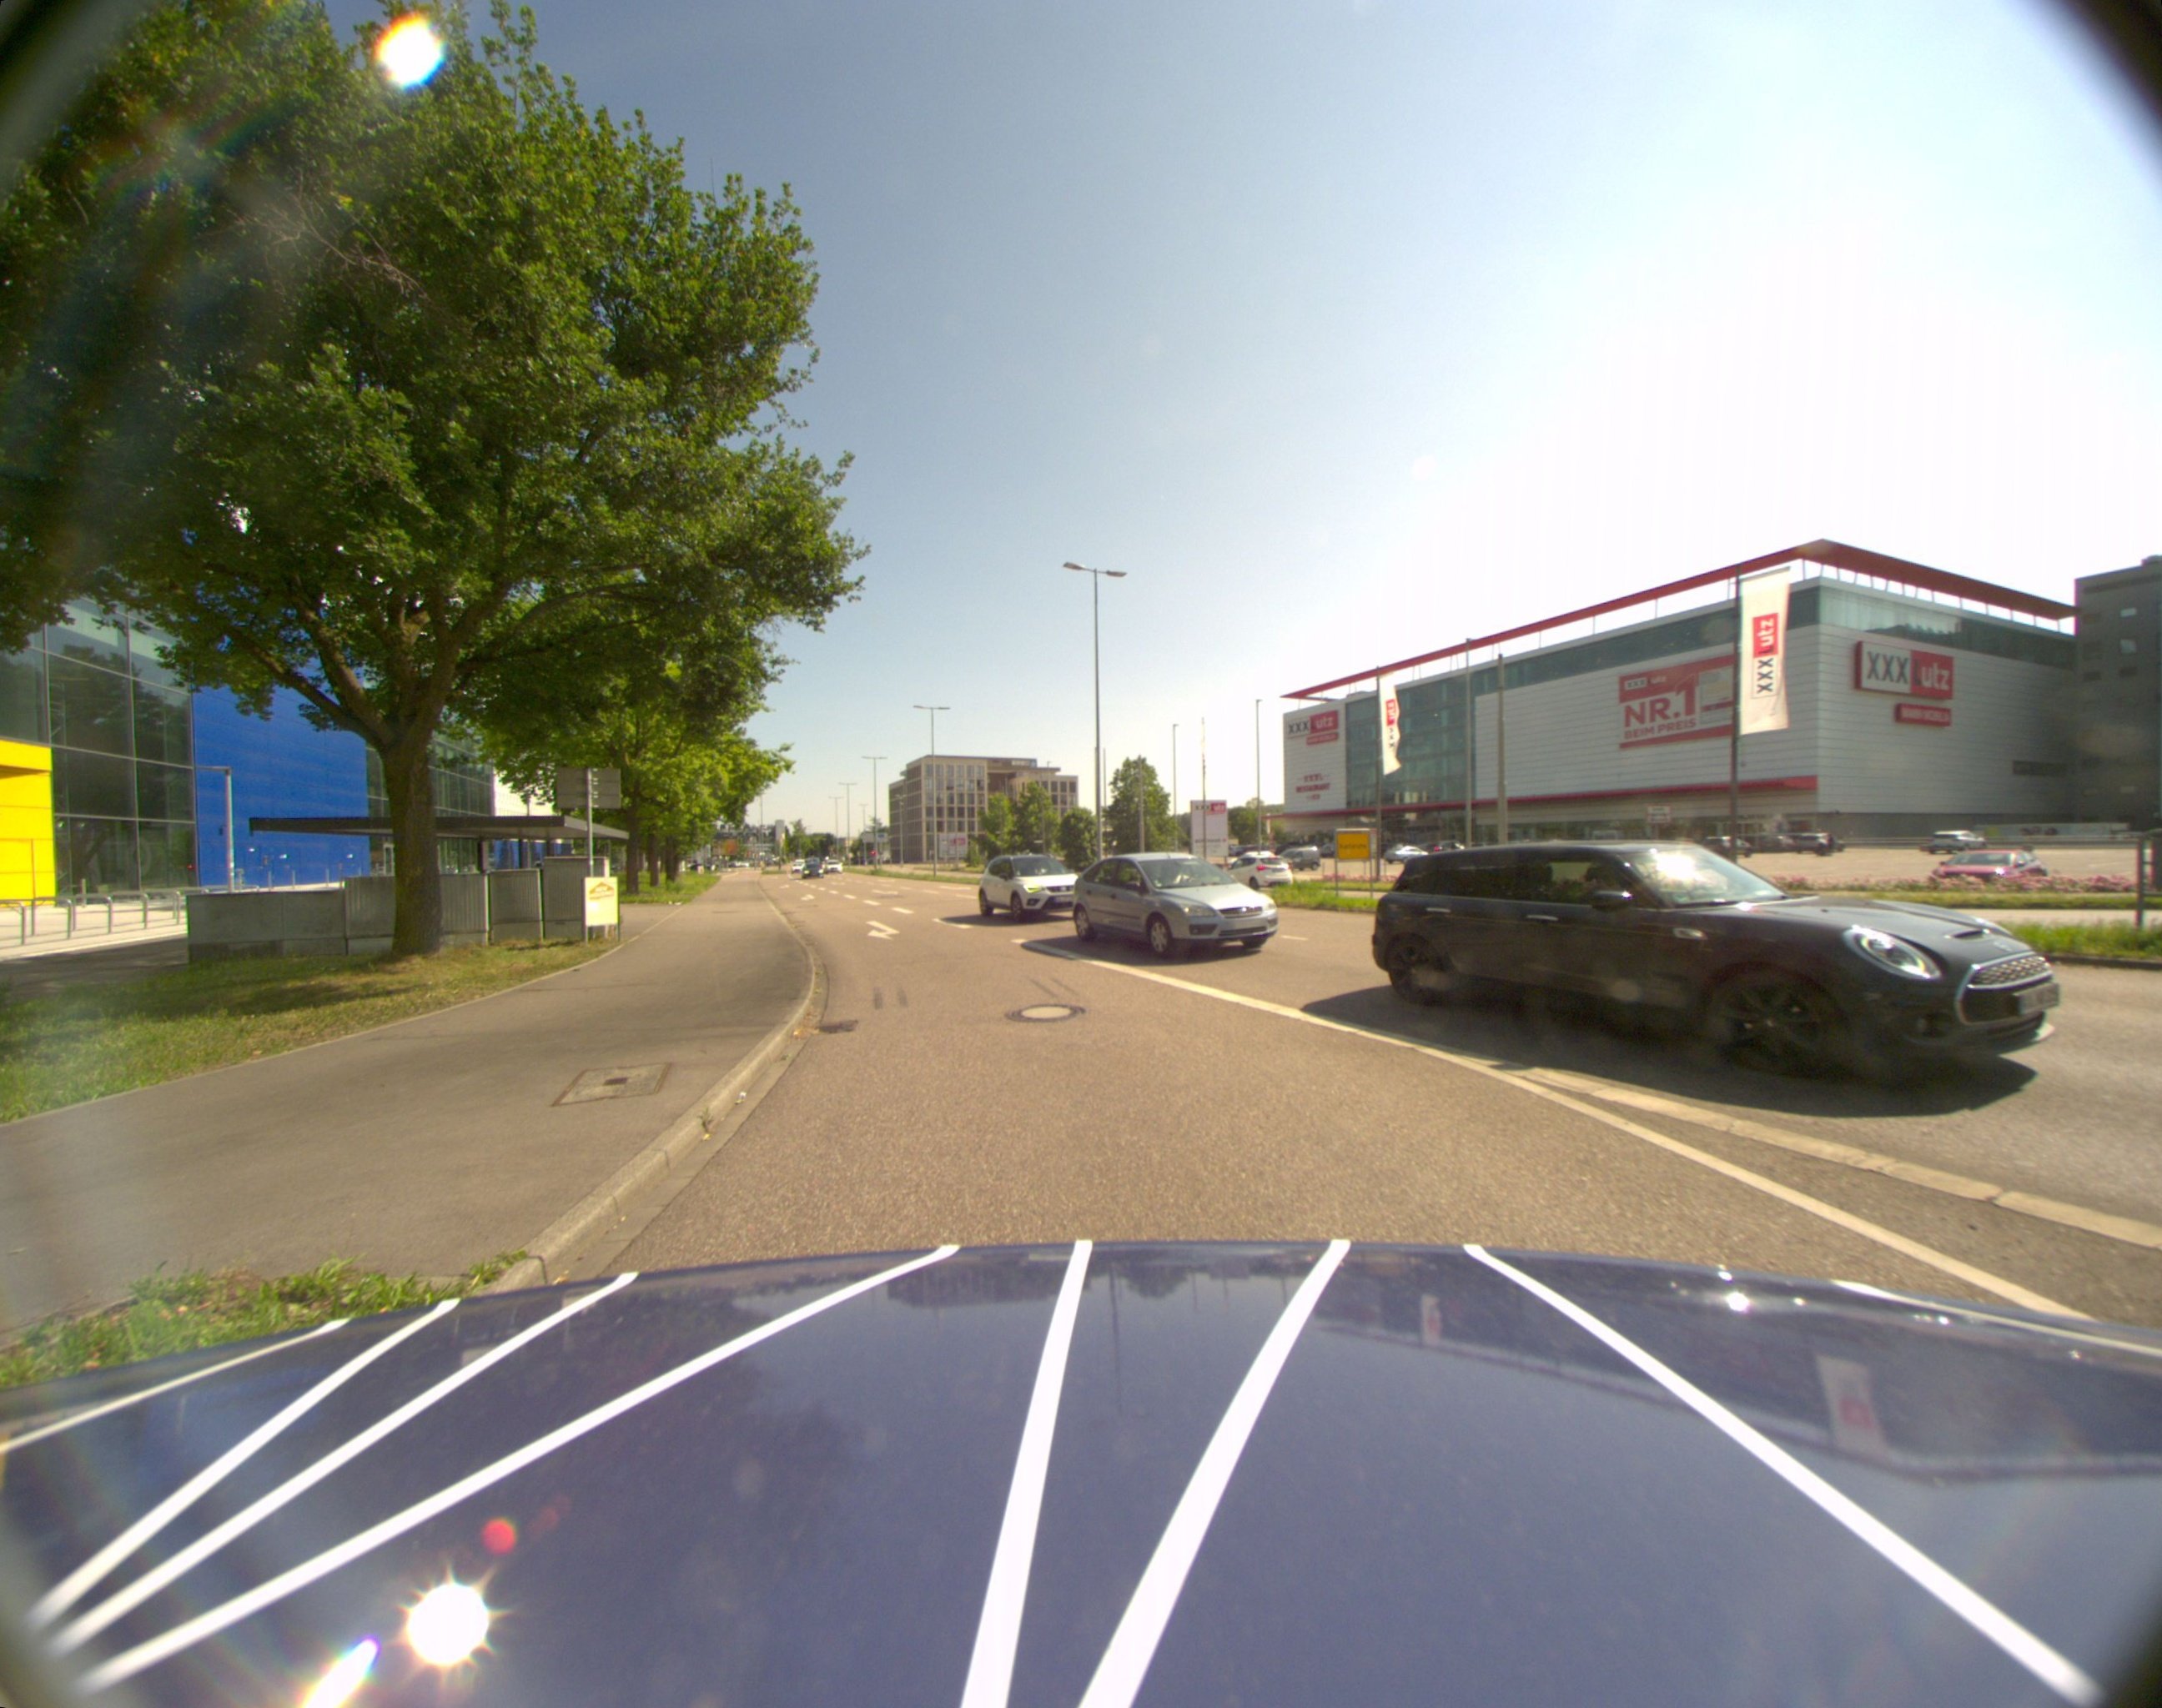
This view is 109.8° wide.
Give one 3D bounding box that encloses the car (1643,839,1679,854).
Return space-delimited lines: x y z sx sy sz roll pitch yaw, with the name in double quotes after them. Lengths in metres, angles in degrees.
55.700 -0.747 72.965 3.101 1.322 1.512 -2 2 -25 "car"

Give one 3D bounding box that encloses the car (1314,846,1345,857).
29.977 -0.332 91.710 3.514 1.192 1.477 -2 2 -25 "car"

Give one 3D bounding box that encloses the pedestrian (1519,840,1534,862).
37.737 -0.272 64.369 0.857 1.846 0.750 -1 0 -24 "pedestrian"

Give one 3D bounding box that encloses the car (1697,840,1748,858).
49.112 -0.417 58.175 3.101 1.322 1.775 -2 2 -25 "car"

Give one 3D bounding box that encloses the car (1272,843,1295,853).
28.750 -0.836 107.660 3.101 1.322 1.216 -2 2 -25 "car"

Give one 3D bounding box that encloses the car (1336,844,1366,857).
31.333 -0.421 88.045 3.101 1.322 1.512 -2 2 -25 "car"

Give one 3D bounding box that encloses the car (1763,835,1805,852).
59.879 -0.918 64.710 3.101 1.322 1.512 -2 2 -25 "car"

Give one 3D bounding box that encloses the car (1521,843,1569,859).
41.311 -0.282 67.584 4.319 1.322 1.512 -2 2 -25 "car"

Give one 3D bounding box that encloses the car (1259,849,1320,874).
16.469 0.552 60.052 4.432 1.832 1.941 -1 1 -24 "car"

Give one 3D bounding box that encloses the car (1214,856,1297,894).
7.833 0.878 34.408 1.801 1.538 4.080 -2 1 -18 "car"

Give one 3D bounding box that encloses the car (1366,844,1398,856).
33.163 -0.453 83.763 3.101 1.286 1.512 -2 2 -25 "car"

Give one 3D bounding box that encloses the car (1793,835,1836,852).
60.156 -0.906 62.315 3.101 1.322 1.512 -2 2 -25 "car"

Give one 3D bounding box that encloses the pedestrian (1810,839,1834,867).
55.108 -0.083 56.543 0.950 2.002 0.974 -2 0 -23 "pedestrian"

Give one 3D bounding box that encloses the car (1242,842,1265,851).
25.696 -1.125 113.088 3.101 1.377 1.512 -2 2 -25 "car"

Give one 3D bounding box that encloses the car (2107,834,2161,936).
11.474 0.289 6.824 1.122 0.998 2.487 -1 0 -22 "car"

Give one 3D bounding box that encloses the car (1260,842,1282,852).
27.706 -1.008 110.745 2.827 1.322 1.293 -2 2 -25 "car"

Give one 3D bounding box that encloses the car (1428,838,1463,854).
40.369 -0.871 84.073 3.577 1.620 1.659 -2 0 -28 "car"

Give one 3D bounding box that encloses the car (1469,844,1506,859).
38.695 -0.275 72.302 3.101 1.322 1.512 -2 2 -25 "car"

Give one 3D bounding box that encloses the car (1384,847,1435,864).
29.370 0.117 67.899 4.509 1.322 1.512 -2 2 -25 "car"

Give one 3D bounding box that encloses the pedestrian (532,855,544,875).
-44.131 0.930 61.734 0.691 1.602 0.770 -1 0 -27 "pedestrian"

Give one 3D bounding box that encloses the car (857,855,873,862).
-59.188 1.175 208.201 3.998 2.002 1.999 -1 1 -3 "car"

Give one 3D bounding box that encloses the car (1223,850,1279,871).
14.513 0.500 64.788 4.432 1.618 1.867 -1 2 -26 "car"

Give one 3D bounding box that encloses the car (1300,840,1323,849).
34.548 -1.475 113.915 3.101 1.322 1.512 -2 2 -25 "car"

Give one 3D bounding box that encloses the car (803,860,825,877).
-25.554 1.377 72.630 1.774 1.456 4.230 -3 2 -22 "car"

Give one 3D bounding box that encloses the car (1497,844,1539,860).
40.061 -0.206 69.659 3.419 1.322 1.586 -2 0 -22 "car"

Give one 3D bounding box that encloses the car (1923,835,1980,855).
63.184 -0.668 55.153 3.678 1.322 1.748 -2 2 -25 "car"

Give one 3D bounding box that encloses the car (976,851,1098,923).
-1.182 0.784 18.428 1.638 1.489 3.863 -3 -1 -24 "car"

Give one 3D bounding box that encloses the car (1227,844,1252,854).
22.583 -0.667 108.259 3.228 1.322 1.512 -2 2 -25 "car"

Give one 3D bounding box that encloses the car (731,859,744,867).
-74.842 1.957 165.640 2.002 1.452 3.993 -2 0 -19 "car"

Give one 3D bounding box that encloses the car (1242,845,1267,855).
24.288 -0.609 106.297 3.228 1.322 1.512 -2 2 -25 "car"

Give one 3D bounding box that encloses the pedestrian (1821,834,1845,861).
56.371 -0.493 56.988 0.950 2.002 0.974 -1 0 -23 "pedestrian"

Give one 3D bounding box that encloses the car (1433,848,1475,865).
30.946 0.183 63.056 3.101 1.322 1.512 -2 2 -25 "car"

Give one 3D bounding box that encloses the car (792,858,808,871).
-39.470 1.497 106.793 1.836 1.703 3.758 -2 2 -24 "car"

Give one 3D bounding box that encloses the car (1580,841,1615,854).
52.507 -0.666 77.254 3.101 1.218 1.512 -2 2 -25 "car"

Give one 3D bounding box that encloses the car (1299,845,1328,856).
29.306 -0.454 95.721 3.101 1.322 1.700 -2 2 -25 "car"

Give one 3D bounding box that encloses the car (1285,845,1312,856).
27.999 -0.403 97.843 3.101 1.322 1.512 -2 2 -25 "car"

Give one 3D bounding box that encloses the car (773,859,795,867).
-67.403 2.005 172.464 4.487 1.578 1.976 -1 1 -23 "car"

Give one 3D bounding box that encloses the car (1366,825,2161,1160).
4.401 0.641 5.725 1.745 1.503 4.192 -2 0 -24 "car"

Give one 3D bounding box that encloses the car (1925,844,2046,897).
30.891 0.511 25.943 4.202 1.596 1.822 -2 2 -28 "car"

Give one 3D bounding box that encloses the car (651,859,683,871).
-76.358 2.037 140.266 5.006 1.996 1.737 -1 2 -25 "car"

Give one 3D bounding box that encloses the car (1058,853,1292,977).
1.272 0.825 12.173 1.714 1.564 4.166 -3 0 -25 "car"

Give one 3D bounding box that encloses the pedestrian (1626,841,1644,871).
34.790 0.112 47.732 0.782 1.884 0.499 -1 0 6 "pedestrian"

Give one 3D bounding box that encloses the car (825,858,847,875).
-29.262 1.437 90.734 2.029 1.827 4.302 -2 2 -23 "car"

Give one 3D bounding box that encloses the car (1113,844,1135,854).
6.654 -0.800 117.560 2.779 1.547 1.771 -1 0 -25 "car"

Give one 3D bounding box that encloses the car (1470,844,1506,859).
38.669 -0.224 72.185 3.101 1.322 1.512 -2 2 -25 "car"

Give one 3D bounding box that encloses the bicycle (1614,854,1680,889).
17.637 0.539 23.704 0.332 1.017 1.639 -1 2 -27 "bicycle"
